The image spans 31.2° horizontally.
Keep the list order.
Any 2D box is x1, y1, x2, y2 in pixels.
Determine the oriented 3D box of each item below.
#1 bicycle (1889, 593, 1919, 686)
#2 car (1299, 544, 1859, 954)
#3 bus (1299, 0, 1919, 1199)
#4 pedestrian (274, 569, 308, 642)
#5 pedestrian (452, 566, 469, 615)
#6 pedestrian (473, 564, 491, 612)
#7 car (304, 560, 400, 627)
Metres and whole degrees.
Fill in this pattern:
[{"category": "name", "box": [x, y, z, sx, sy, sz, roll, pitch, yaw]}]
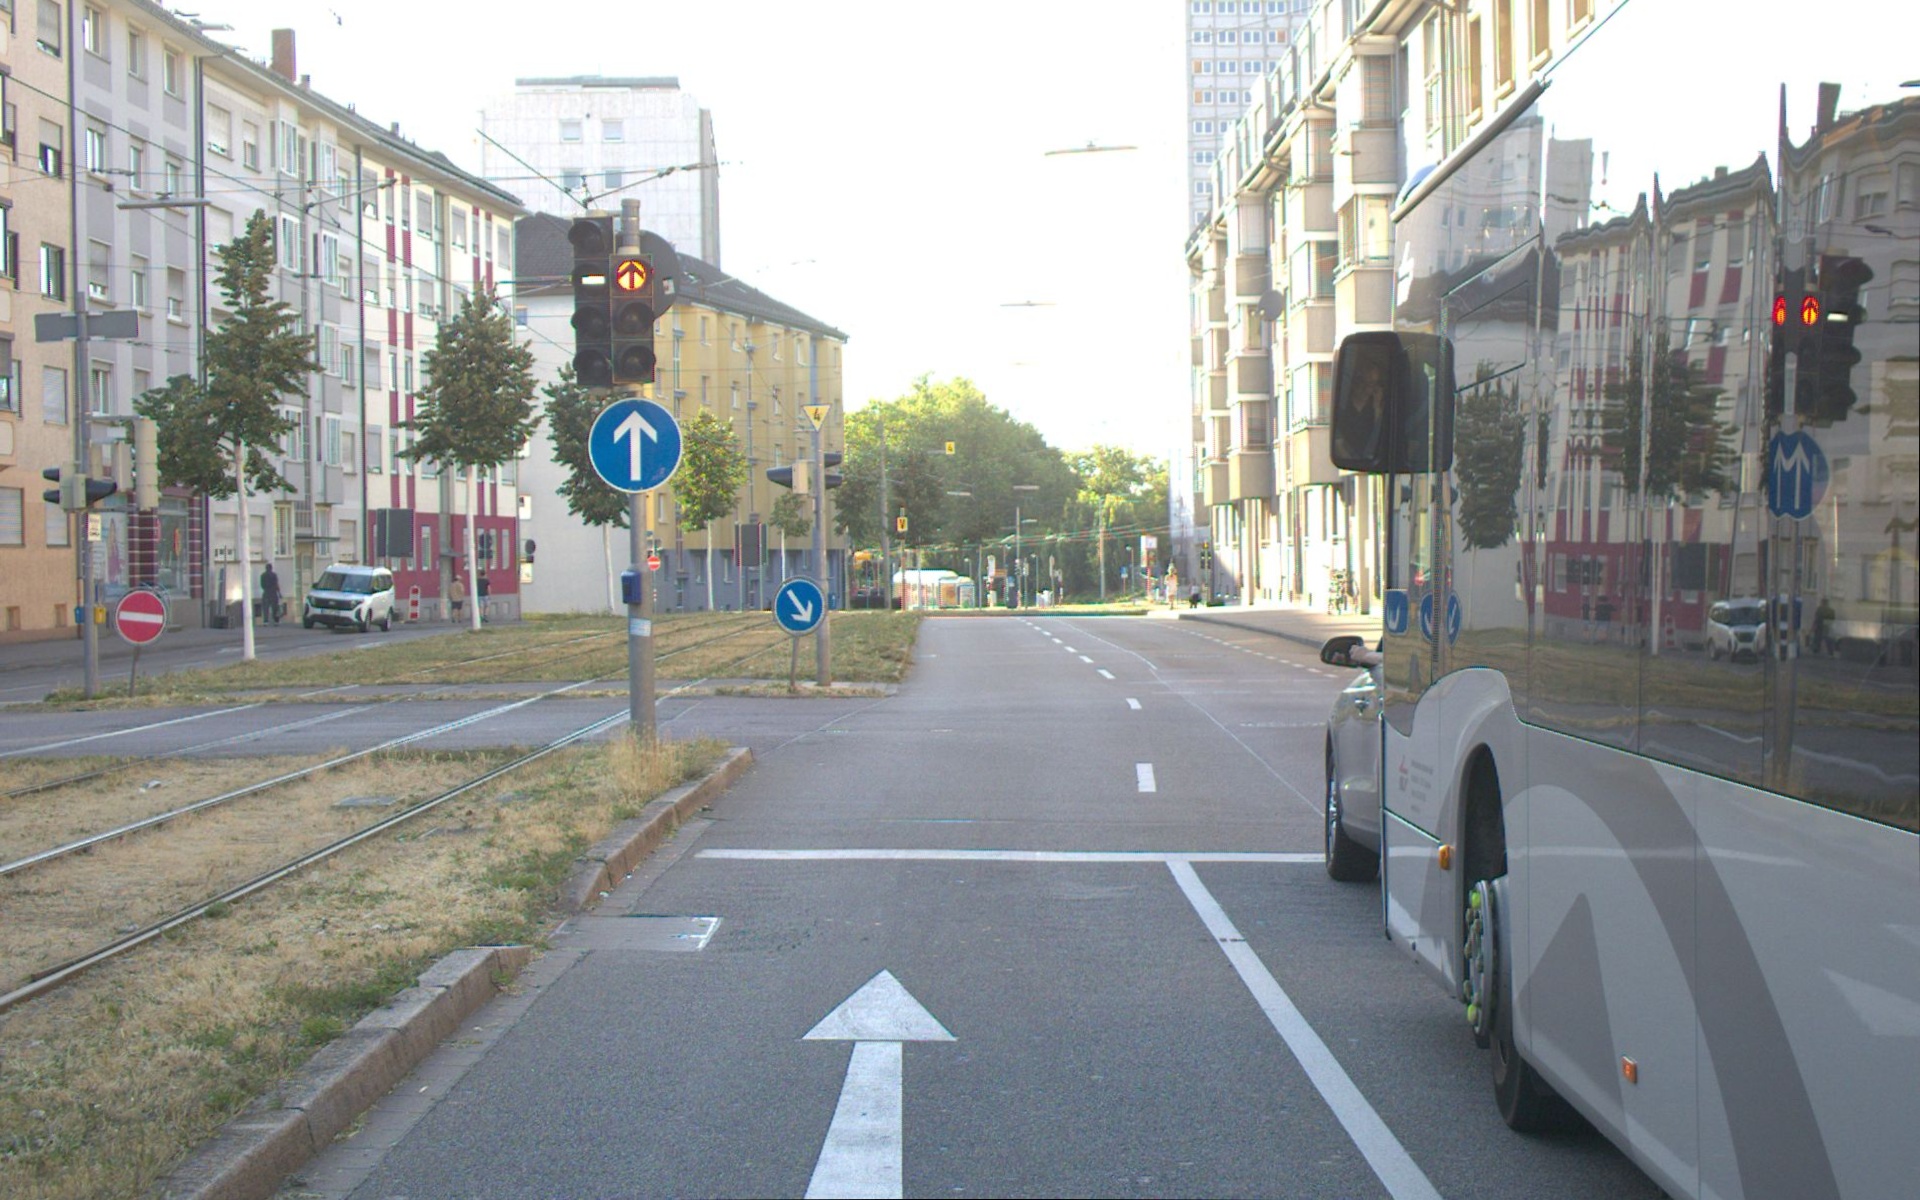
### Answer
[{"category": "bicycle", "box": [10.206, 0.348, 33.640, 1.978, 0.891, 0.786, -2, 0, -9]}, {"category": "car", "box": [2.631, 0.561, 15.540, 1.770, 1.570, 4.086, -1, 1, 0]}, {"category": "bus", "box": [2.580, -0.059, 7.580, 2.738, 3.045, 9.131, 0, 1, 0]}, {"category": "pedestrian", "box": [-18.750, 0.150, 96.302, 0.786, 2.007, 0.891, -1, 0, -3]}, {"category": "pedestrian", "box": [-17.207, -0.325, 118.404, 0.495, 1.652, 0.408, -1, 0, 1]}, {"category": "pedestrian", "box": [-16.479, -0.416, 118.559, 0.495, 1.652, 0.408, -1, 0, 1]}, {"category": "car", "box": [-16.965, -0.179, 96.094, 1.812, 1.791, 4.245, 1, 0, 2]}]
